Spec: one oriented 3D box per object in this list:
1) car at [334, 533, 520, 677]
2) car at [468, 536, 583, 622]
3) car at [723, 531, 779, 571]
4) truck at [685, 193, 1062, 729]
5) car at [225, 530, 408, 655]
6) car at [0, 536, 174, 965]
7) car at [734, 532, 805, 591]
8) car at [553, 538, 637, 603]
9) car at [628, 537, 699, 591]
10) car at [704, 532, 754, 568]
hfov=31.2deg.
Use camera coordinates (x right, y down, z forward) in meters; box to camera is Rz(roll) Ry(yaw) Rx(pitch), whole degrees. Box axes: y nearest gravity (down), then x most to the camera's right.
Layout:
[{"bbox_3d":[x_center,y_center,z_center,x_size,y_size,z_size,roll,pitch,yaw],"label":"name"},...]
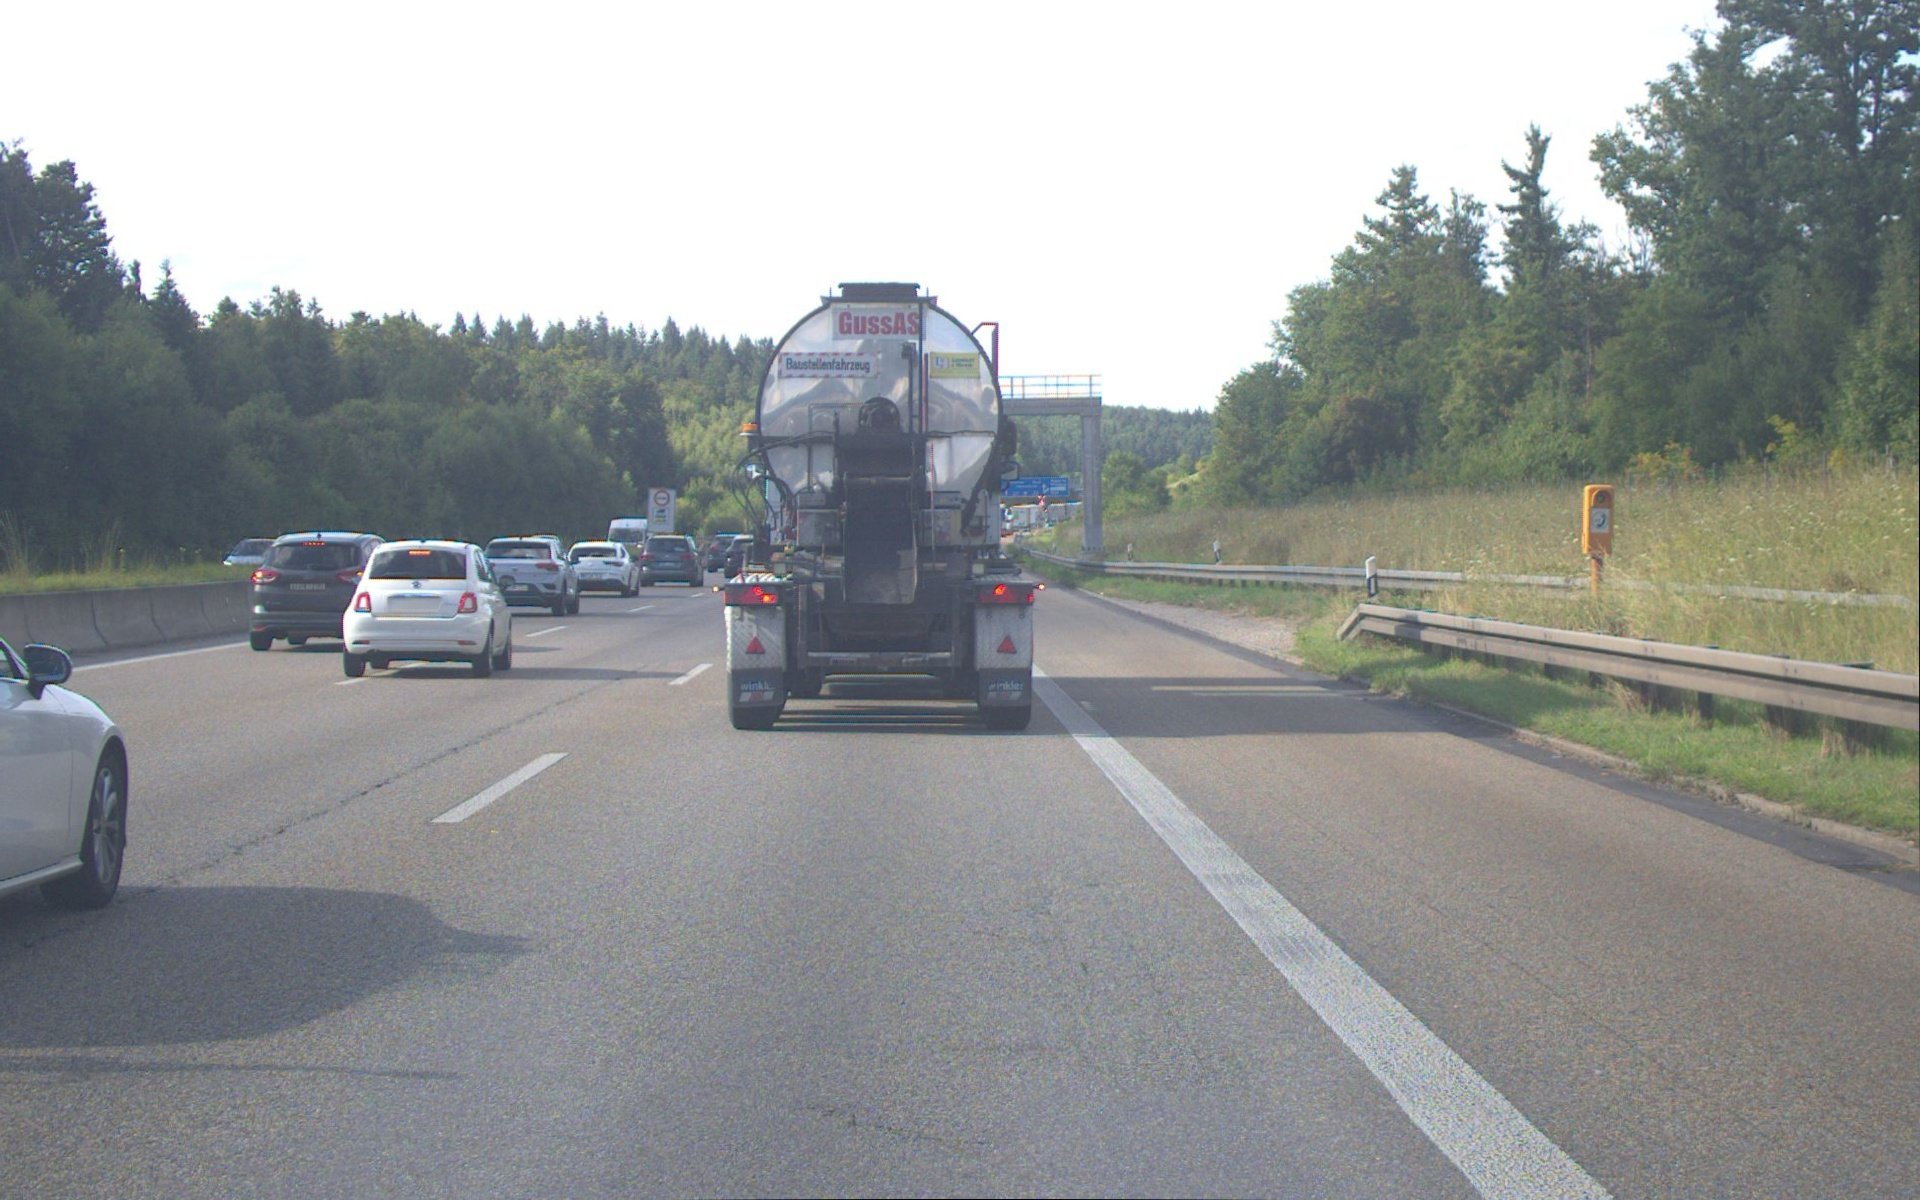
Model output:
[{"bbox_3d":[-5.991,0.024,38.957,1.618,1.539,3.520,1,1,-1],"label":"car"},{"bbox_3d":[-8.563,-0.445,68.090,1.806,1.580,4.207,1,2,-1],"label":"car"},{"bbox_3d":[-7.970,-1.891,131.265,1.942,1.451,4.207,1,2,-1],"label":"car"},{"bbox_3d":[-0.709,-1.187,32.288,2.912,4.143,11.270,0,1,0],"label":"truck"},{"bbox_3d":[-8.851,-0.141,47.595,1.806,1.580,4.207,1,2,-1],"label":"car"},{"bbox_3d":[-4.374,0.524,11.867,2.060,1.494,5.736,0,1,-1],"label":"car"},{"bbox_3d":[-5.616,-1.153,101.687,1.942,1.649,4.207,1,2,-1],"label":"car"},{"bbox_3d":[-9.474,-0.779,89.578,1.806,1.580,4.207,1,2,-1],"label":"car"},{"bbox_3d":[-9.347,-1.150,108.592,1.942,1.580,4.207,1,2,-1],"label":"car"},{"bbox_3d":[-10.062,-2.197,149.953,1.942,1.451,4.207,1,2,-1],"label":"car"}]
